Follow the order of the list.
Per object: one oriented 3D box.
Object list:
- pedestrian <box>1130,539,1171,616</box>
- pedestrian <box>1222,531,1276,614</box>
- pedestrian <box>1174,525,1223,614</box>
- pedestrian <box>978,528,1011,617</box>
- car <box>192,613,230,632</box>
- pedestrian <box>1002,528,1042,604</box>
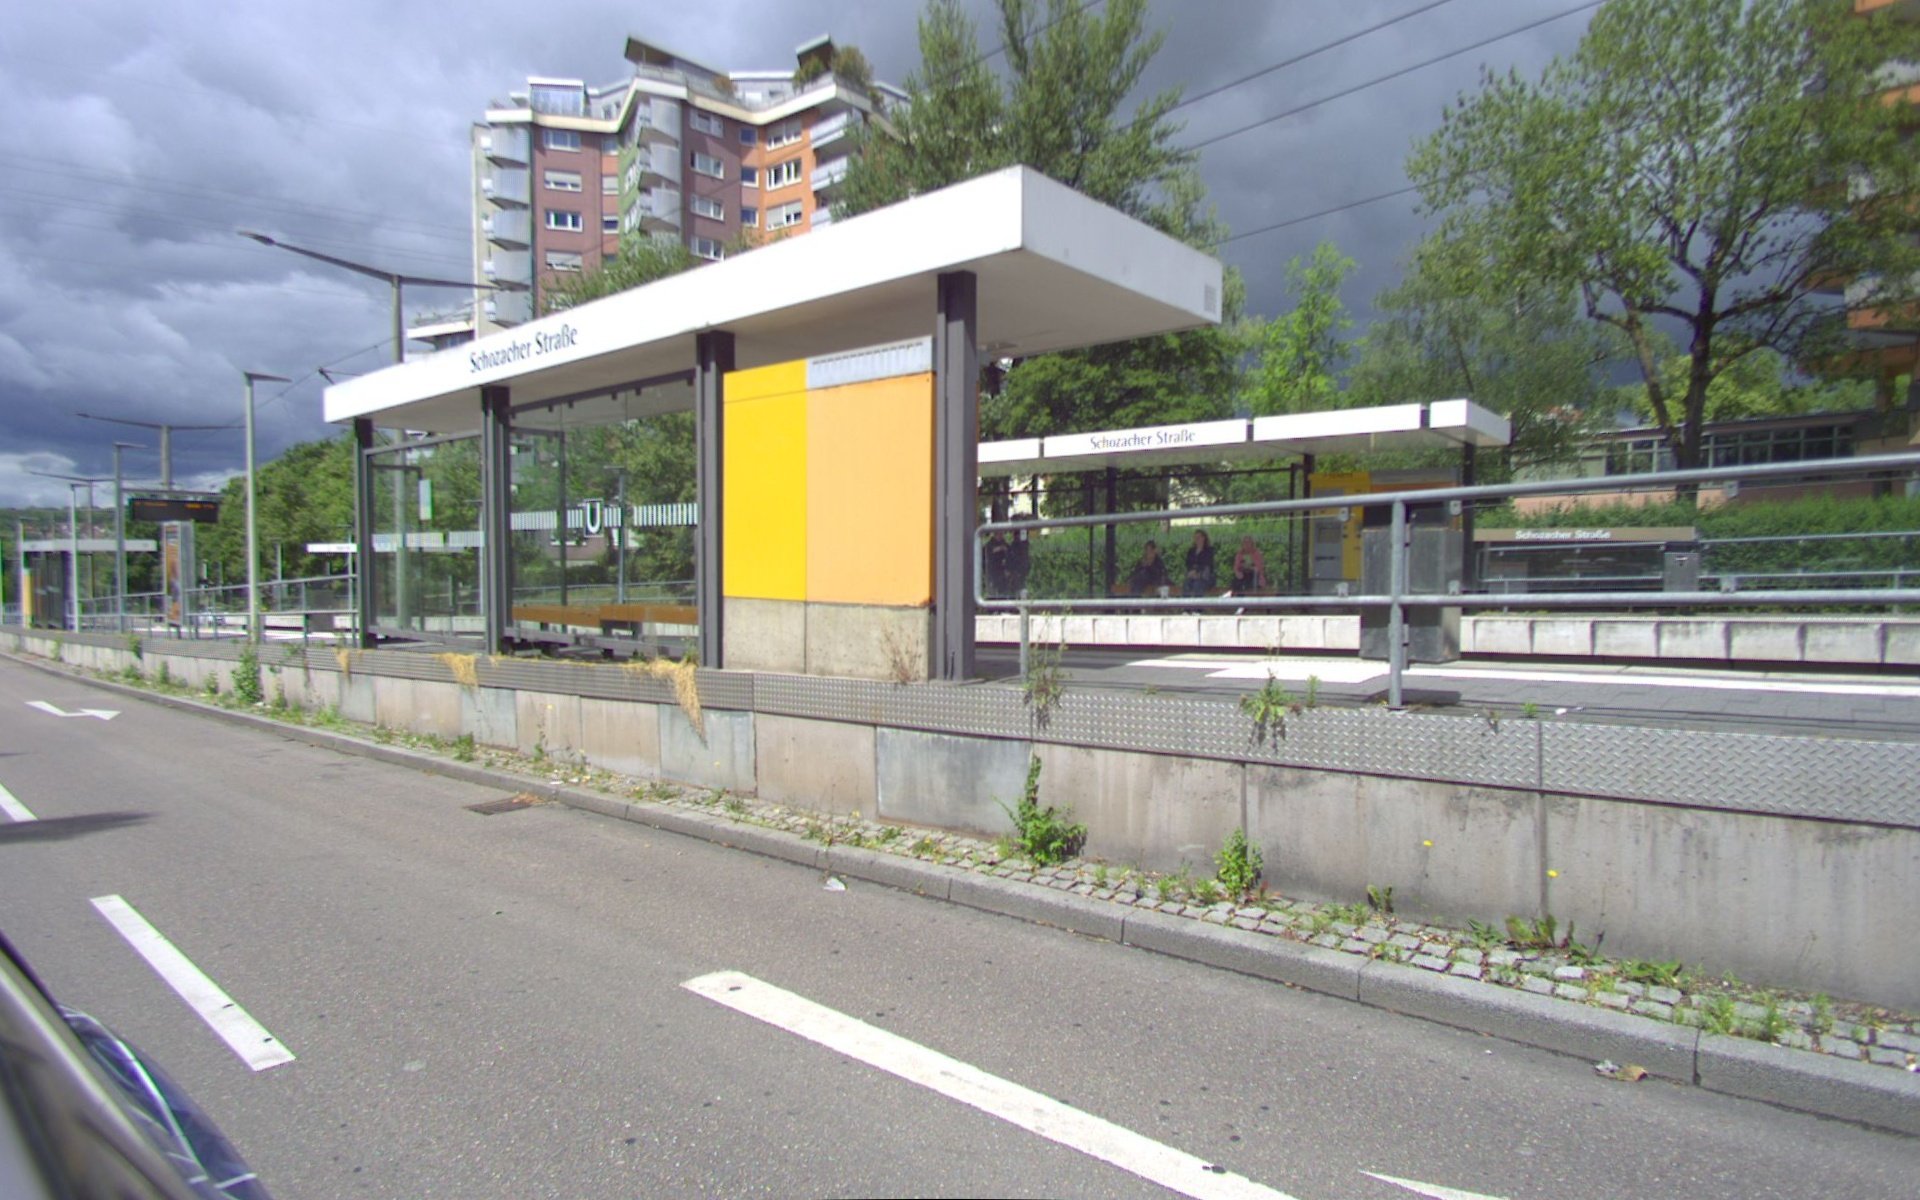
[{"bbox_3d":[3.162,-0.365,16.784,0.541,1.246,0.516,-1,0,29],"label":"pedestrian"},{"bbox_3d":[4.456,-0.412,15.589,0.517,1.246,0.734,-1,-1,41],"label":"pedestrian"},{"bbox_3d":[3.802,-0.472,16.134,0.506,1.379,0.637,-1,-1,41],"label":"pedestrian"},{"bbox_3d":[0.654,-0.518,19.303,0.558,1.657,0.520,-1,0,9],"label":"pedestrian"},{"bbox_3d":[-59.248,1.735,80.045,3.999,1.429,1.637,-1,0,42],"label":"car"},{"bbox_3d":[1.145,-0.626,18.706,0.520,1.390,0.537,2,1,32],"label":"pedestrian"}]
